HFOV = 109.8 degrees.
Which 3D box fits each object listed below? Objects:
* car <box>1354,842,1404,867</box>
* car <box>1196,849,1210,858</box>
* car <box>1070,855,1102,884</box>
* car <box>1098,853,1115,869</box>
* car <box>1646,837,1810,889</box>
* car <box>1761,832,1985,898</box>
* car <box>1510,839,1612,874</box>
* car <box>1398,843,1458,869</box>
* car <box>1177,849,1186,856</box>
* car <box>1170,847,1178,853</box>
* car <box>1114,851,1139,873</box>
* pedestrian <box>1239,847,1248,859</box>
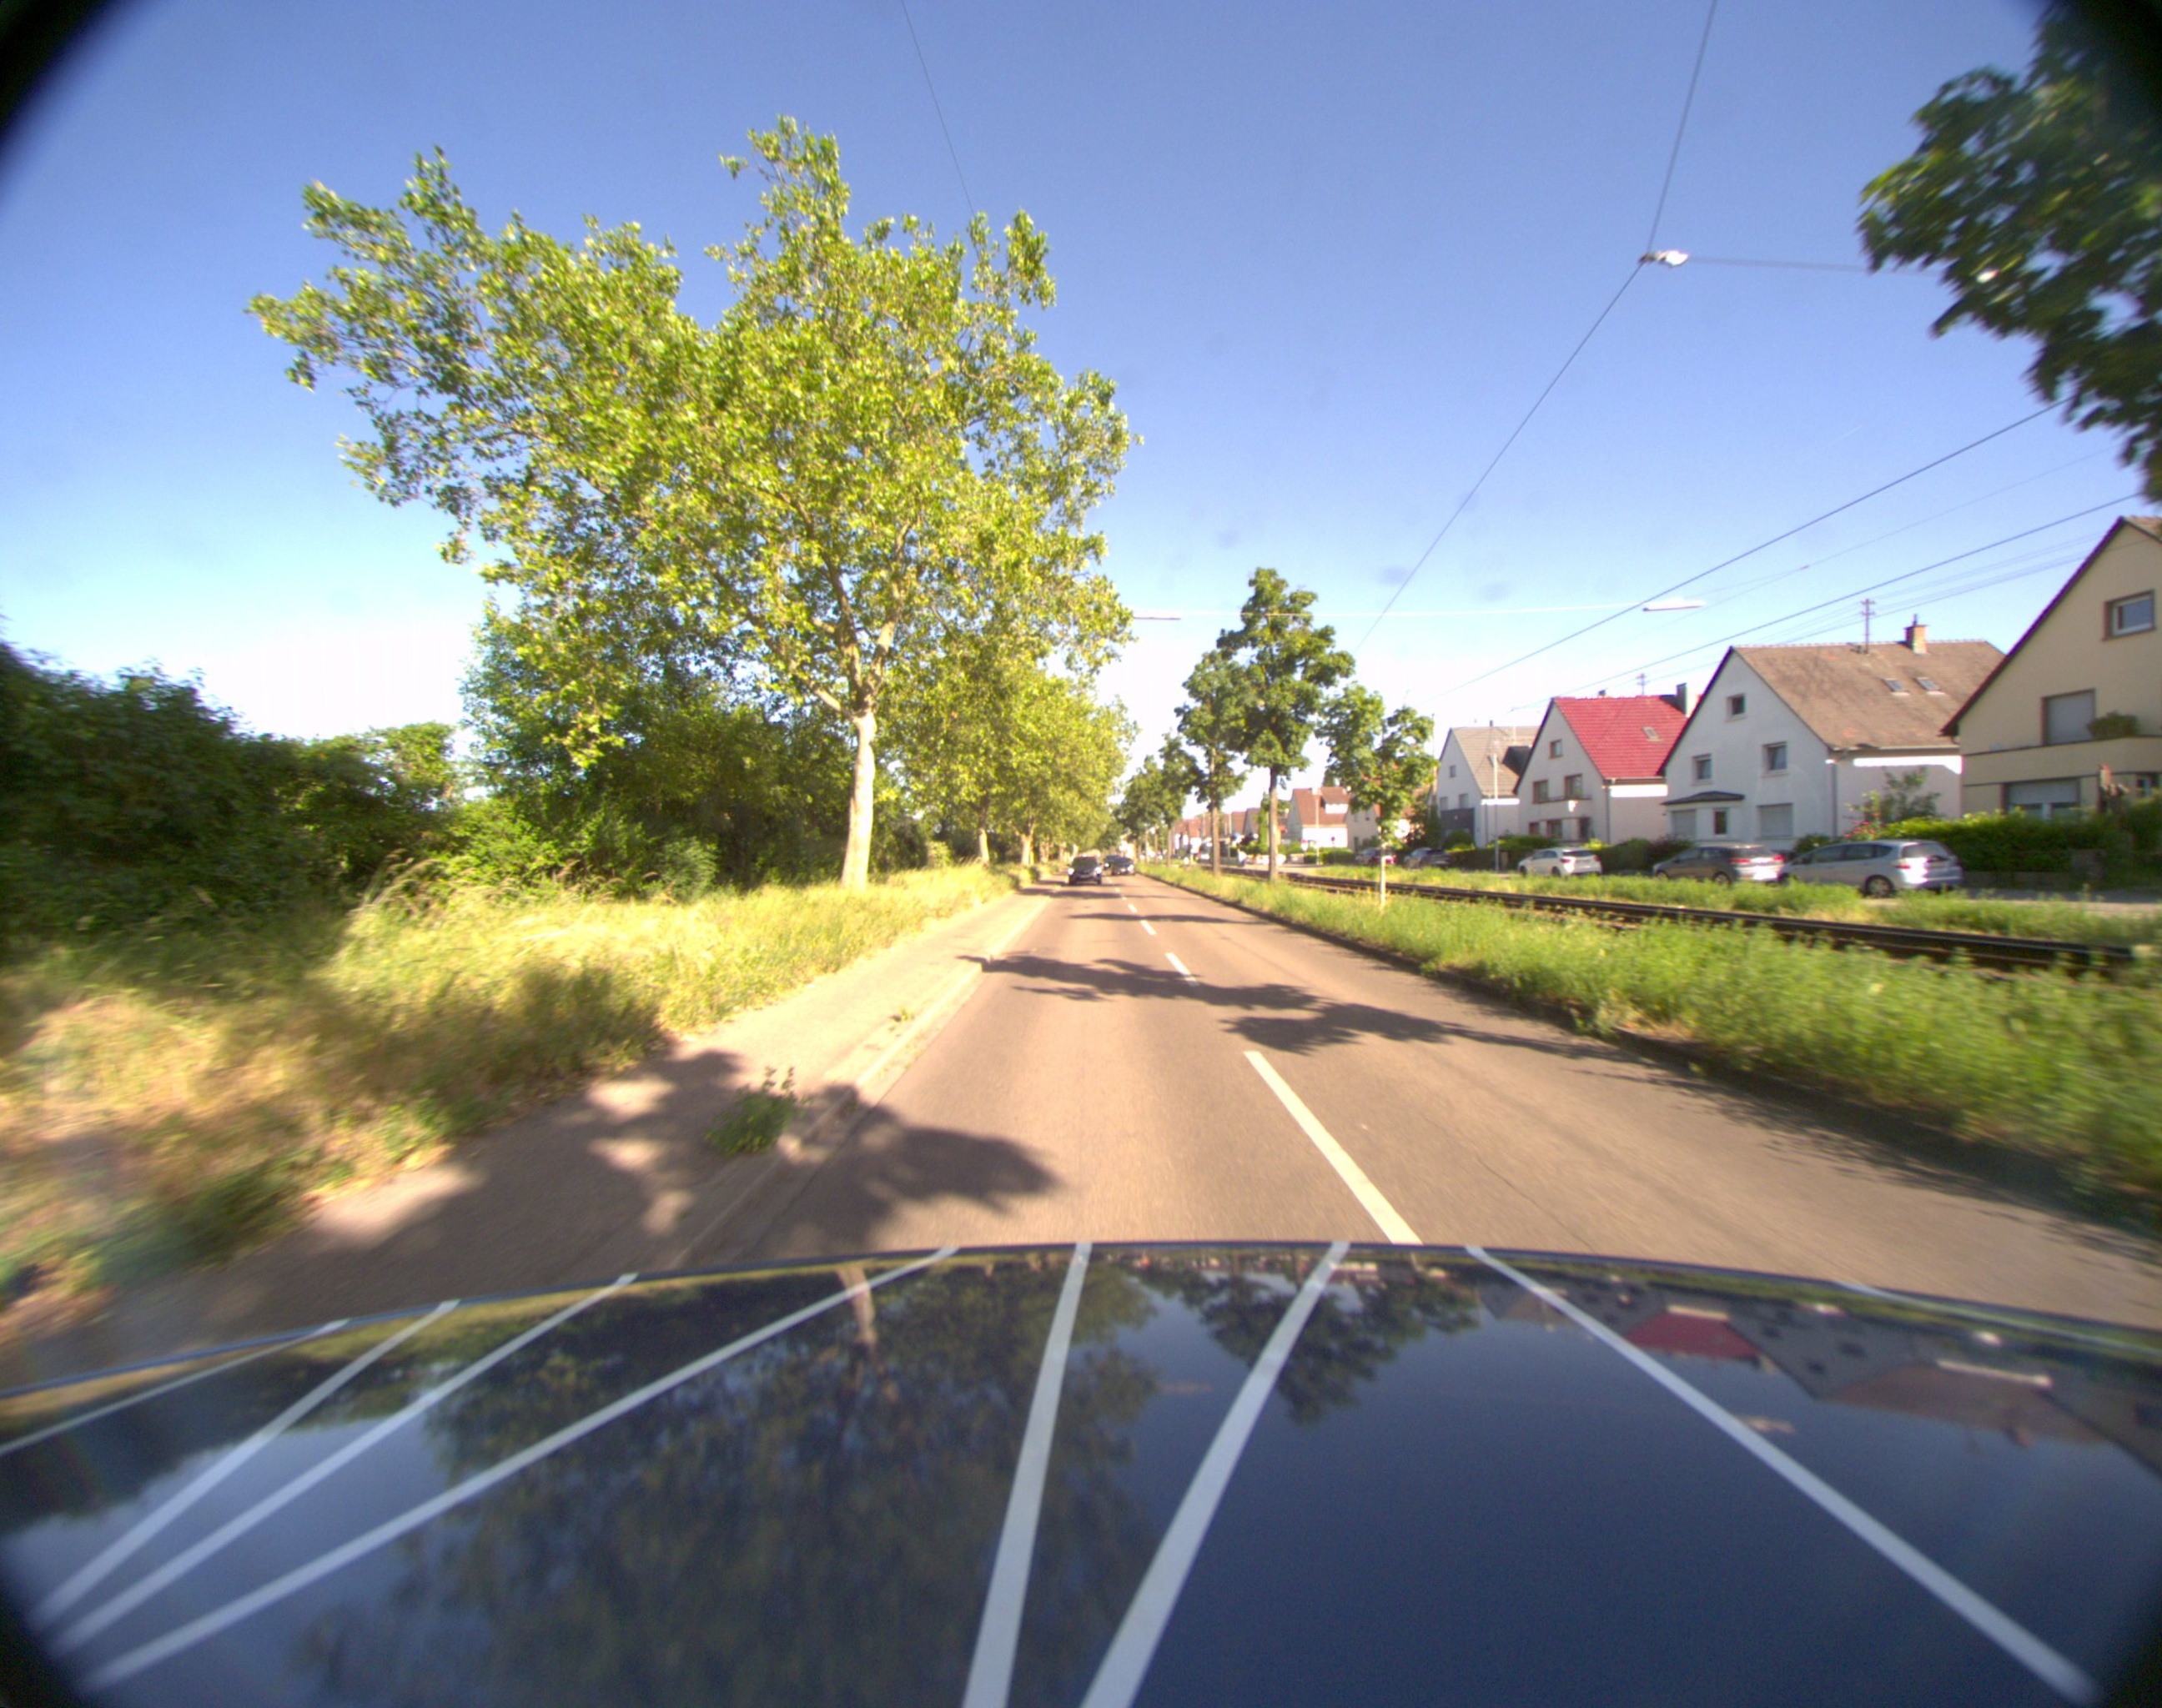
[{"bbox_3d":[22.469,0.015,57.457,1.998,1.703,4.390,-3,1,1],"label":"car"},{"bbox_3d":[23.648,-0.127,147.153,1.998,1.668,4.839,-3,1,1],"label":"car"},{"bbox_3d":[0.309,0.845,42.308,1.692,1.499,3.582,-1,1,1],"label":"car"},{"bbox_3d":[2.683,0.715,81.607,1.692,1.499,3.582,-3,1,1],"label":"car"},{"bbox_3d":[21.648,0.266,25.692,1.998,1.441,4.127,-5,1,1],"label":"car"},{"bbox_3d":[21.595,0.262,21.004,1.951,1.544,4.056,-3,1,1],"label":"car"},{"bbox_3d":[21.907,0.089,34.887,1.998,1.418,4.410,-3,1,3],"label":"car"},{"bbox_3d":[22.204,0.087,48.810,1.931,1.486,4.255,-3,1,1],"label":"car"},{"bbox_3d":[24.620,-0.401,186.148,1.738,1.481,3.756,-3,1,1],"label":"car"},{"bbox_3d":[24.776,-1.092,202.875,1.756,1.373,3.823,-3,1,1],"label":"car"},{"bbox_3d":[3.465,0.600,58.402,1.692,1.499,3.582,-3,1,1],"label":"car"},{"bbox_3d":[22.325,-0.120,104.522,0.814,1.525,0.793,-1,-1,-19],"label":"pedestrian"}]
